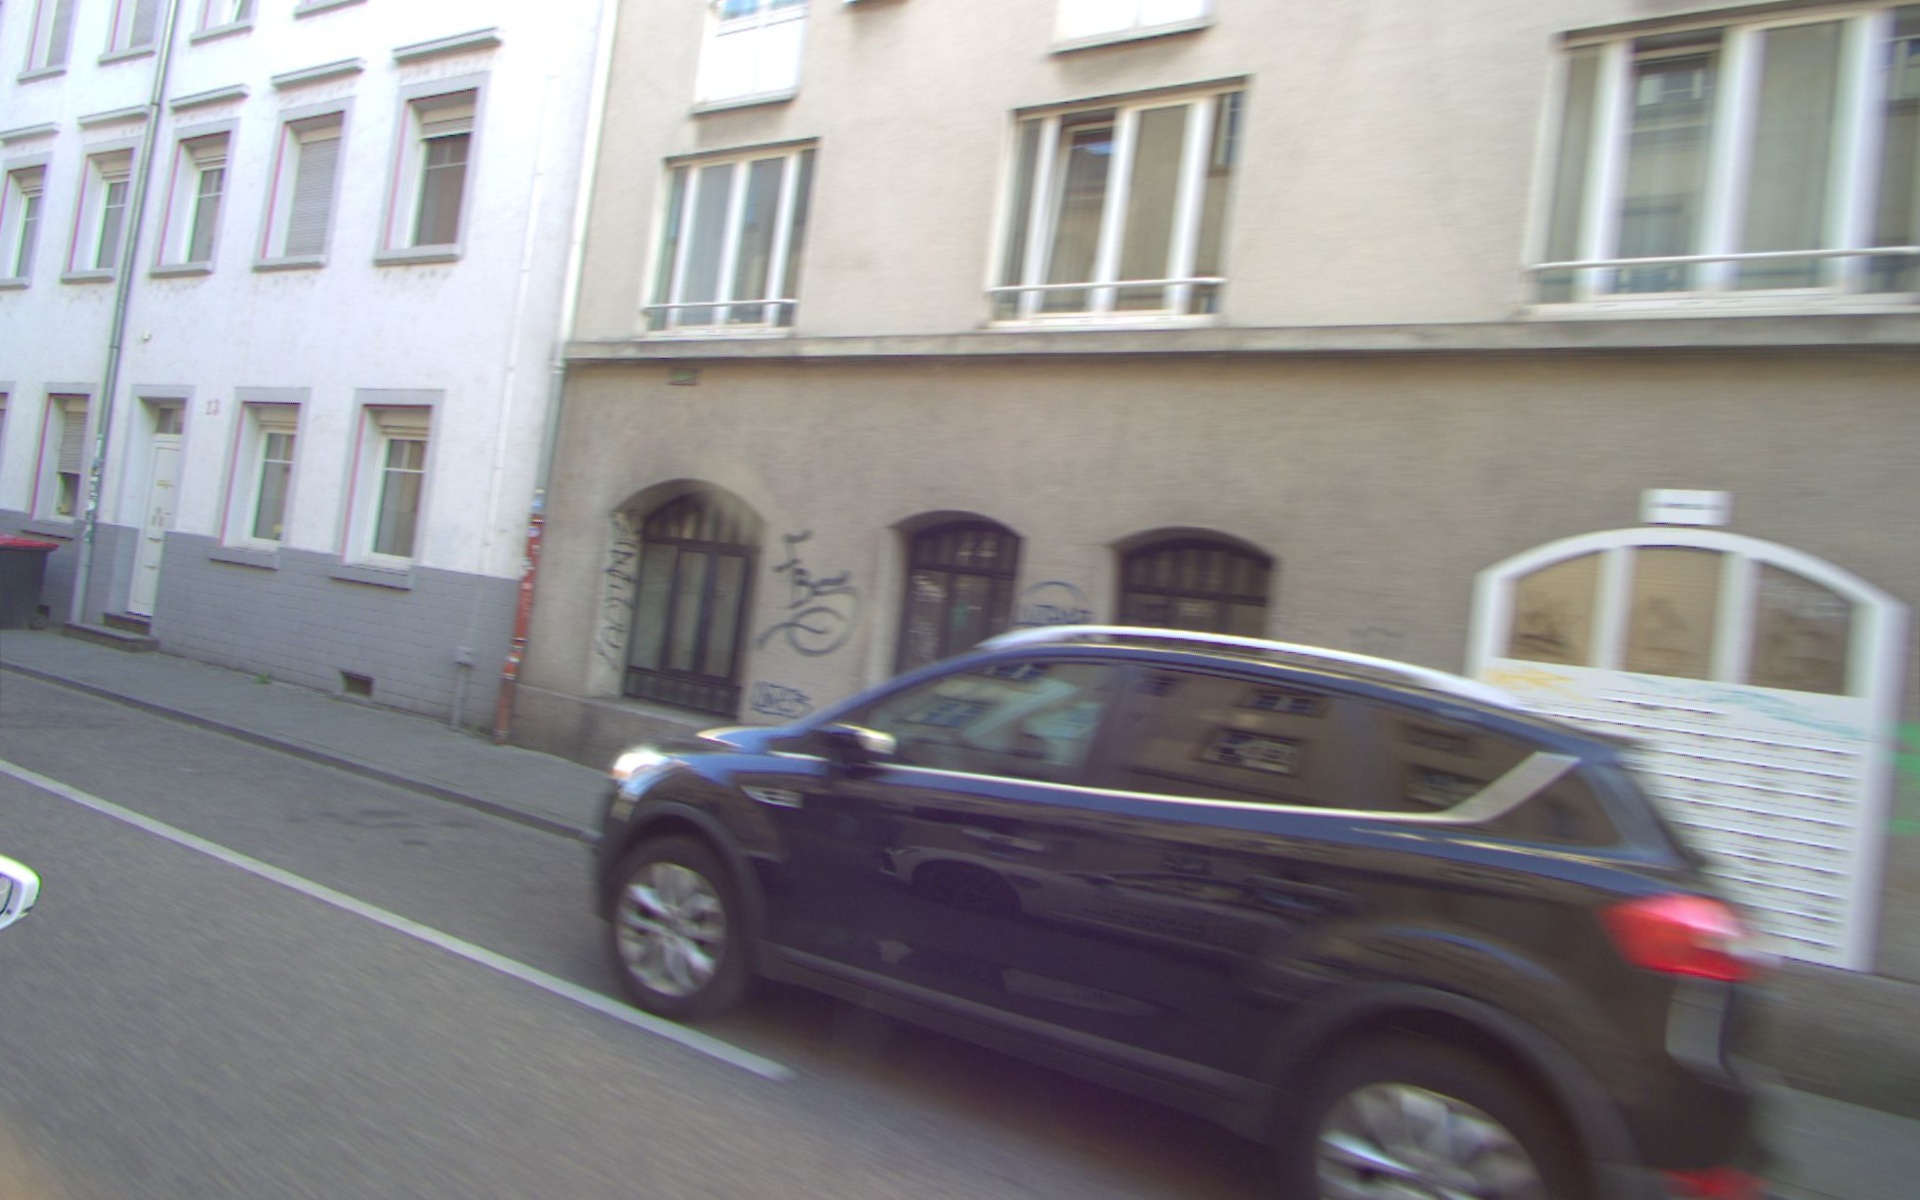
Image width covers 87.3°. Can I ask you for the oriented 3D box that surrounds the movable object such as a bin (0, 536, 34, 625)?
[{"bbox_3d":[-12.103,-0.255,12.506,0.695,1.065,0.607,7,3,23],"label":"movable object such as a bin"}]

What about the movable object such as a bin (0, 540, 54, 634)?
[{"bbox_3d":[-11.461,-0.166,12.035,0.695,1.065,0.627,7,3,19],"label":"movable object such as a bin"}]

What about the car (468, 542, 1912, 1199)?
[{"bbox_3d":[0.409,0.927,3.986,4.415,1.672,1.831,7,-3,28],"label":"car"}]
